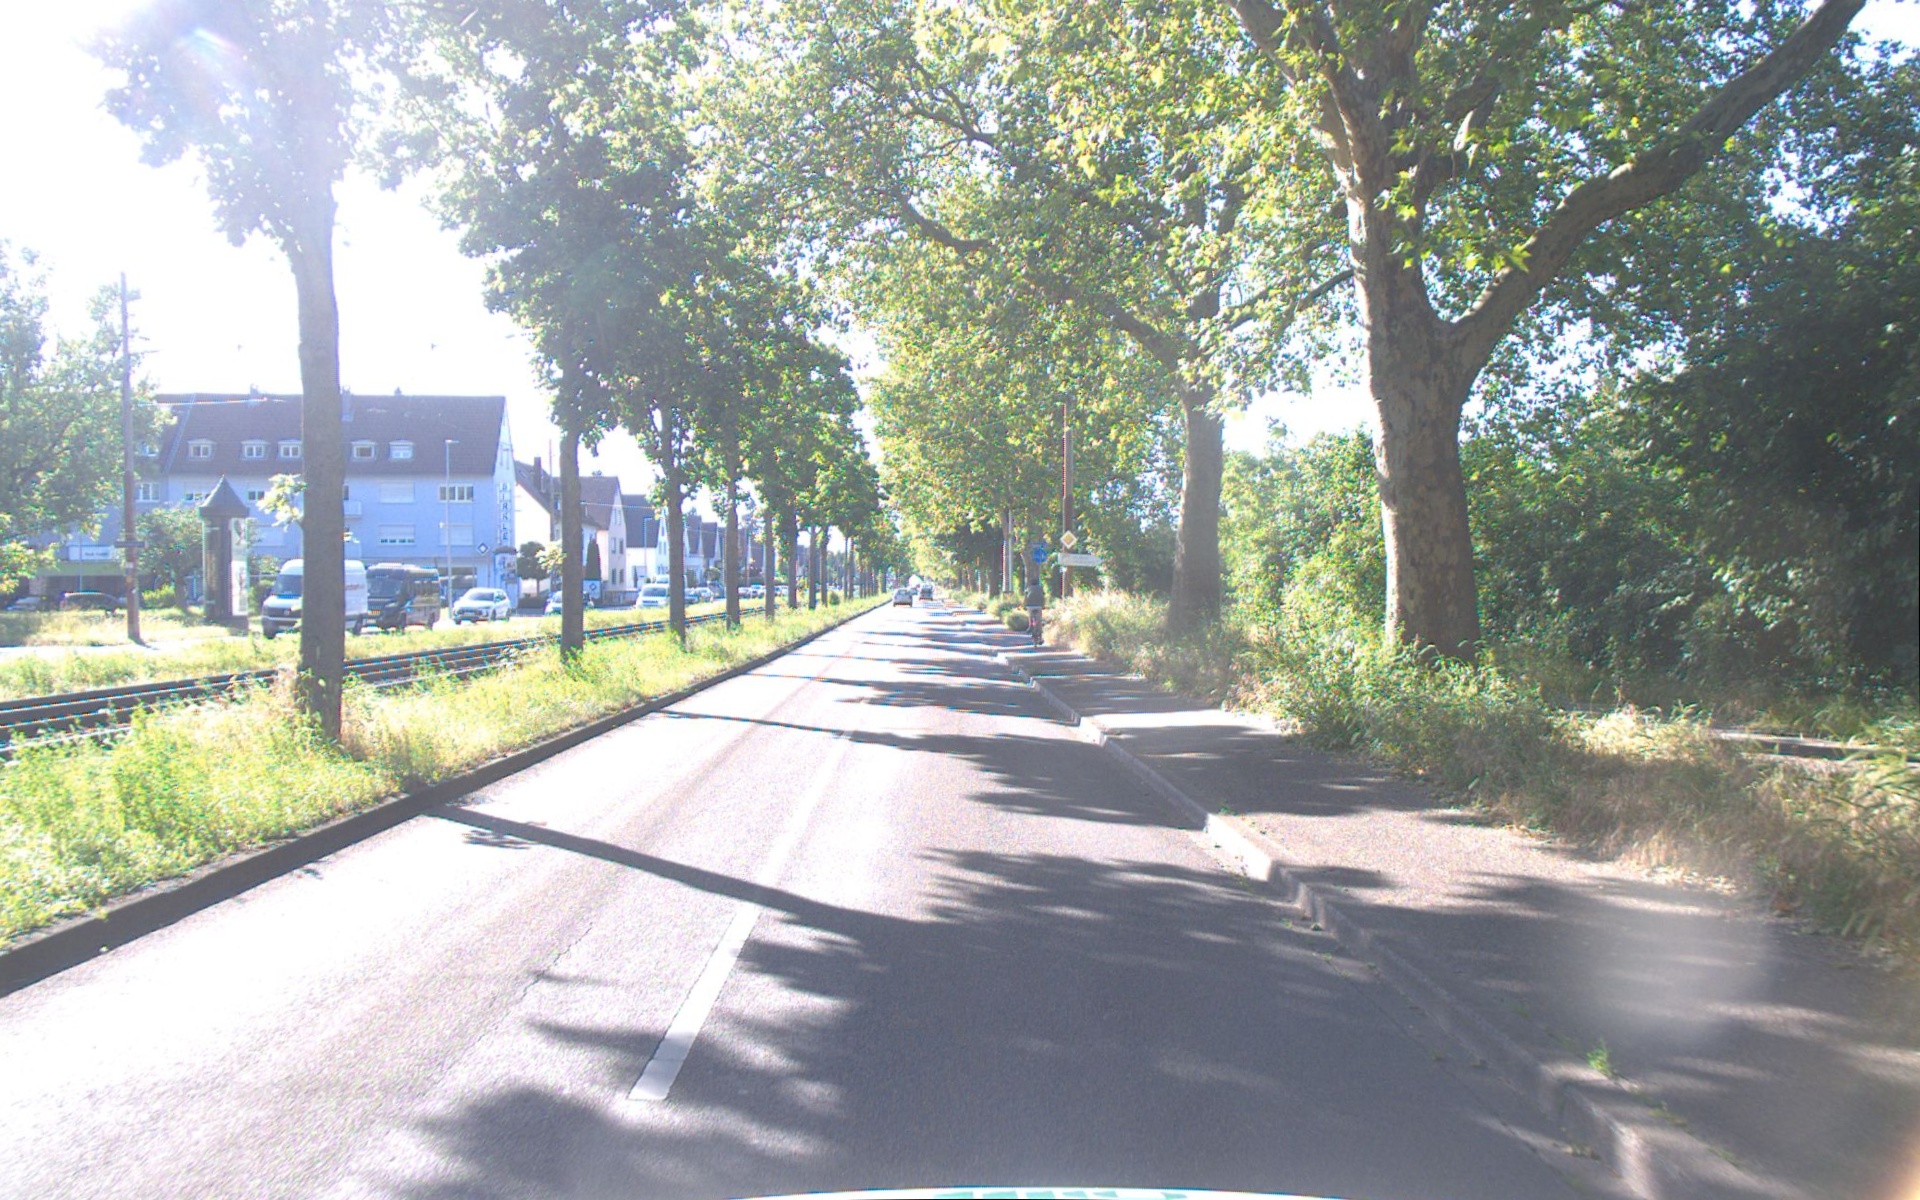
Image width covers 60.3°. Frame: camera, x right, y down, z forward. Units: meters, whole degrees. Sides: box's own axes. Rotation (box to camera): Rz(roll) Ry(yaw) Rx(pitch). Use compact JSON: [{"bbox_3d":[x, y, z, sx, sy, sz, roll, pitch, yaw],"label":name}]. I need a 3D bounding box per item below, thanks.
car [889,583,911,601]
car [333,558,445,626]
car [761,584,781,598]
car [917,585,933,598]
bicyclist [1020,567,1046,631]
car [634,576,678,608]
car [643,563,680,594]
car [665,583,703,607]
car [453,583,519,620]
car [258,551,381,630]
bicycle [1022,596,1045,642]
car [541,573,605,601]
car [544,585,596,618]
[{"bbox_3d":[-4.813,-0.653,132.294,1.703,1.425,3.276,1,0,-2],"label":"car"},{"bbox_3d":[-21.826,-0.299,63.577,2.138,2.418,6.463,1,0,-1],"label":"car"},{"bbox_3d":[-20.040,-0.988,175.364,1.642,1.434,3.999,-1,1,-1],"label":"car"},{"bbox_3d":[-4.006,-0.964,189.590,1.725,1.539,3.276,1,0,-1],"label":"car"},{"bbox_3d":[1.921,-0.020,43.572,0.601,1.657,0.909,-1,0,-2],"label":"bicyclist"},{"bbox_3d":[-17.979,-0.467,98.093,1.774,1.775,4.980,1,0,-1],"label":"car"},{"bbox_3d":[-24.800,-1.773,137.641,1.953,2.502,6.672,1,0,-2],"label":"car"},{"bbox_3d":[-18.857,-0.348,113.177,1.953,1.558,3.751,-1,1,0],"label":"car"},{"bbox_3d":[-22.203,0.065,77.681,1.786,1.635,4.773,1,0,-1],"label":"car"},{"bbox_3d":[-21.761,-0.321,56.530,1.961,2.540,6.135,1,0,-2],"label":"car"},{"bbox_3d":[1.932,0.493,43.617,0.431,1.173,1.822,-1,1,-1],"label":"bicycle"},{"bbox_3d":[-28.544,-0.952,122.209,4.536,1.979,1.994,0,0,-12],"label":"car"},{"bbox_3d":[-17.488,0.050,74.253,1.525,1.419,3.819,1,0,-2],"label":"car"}]
